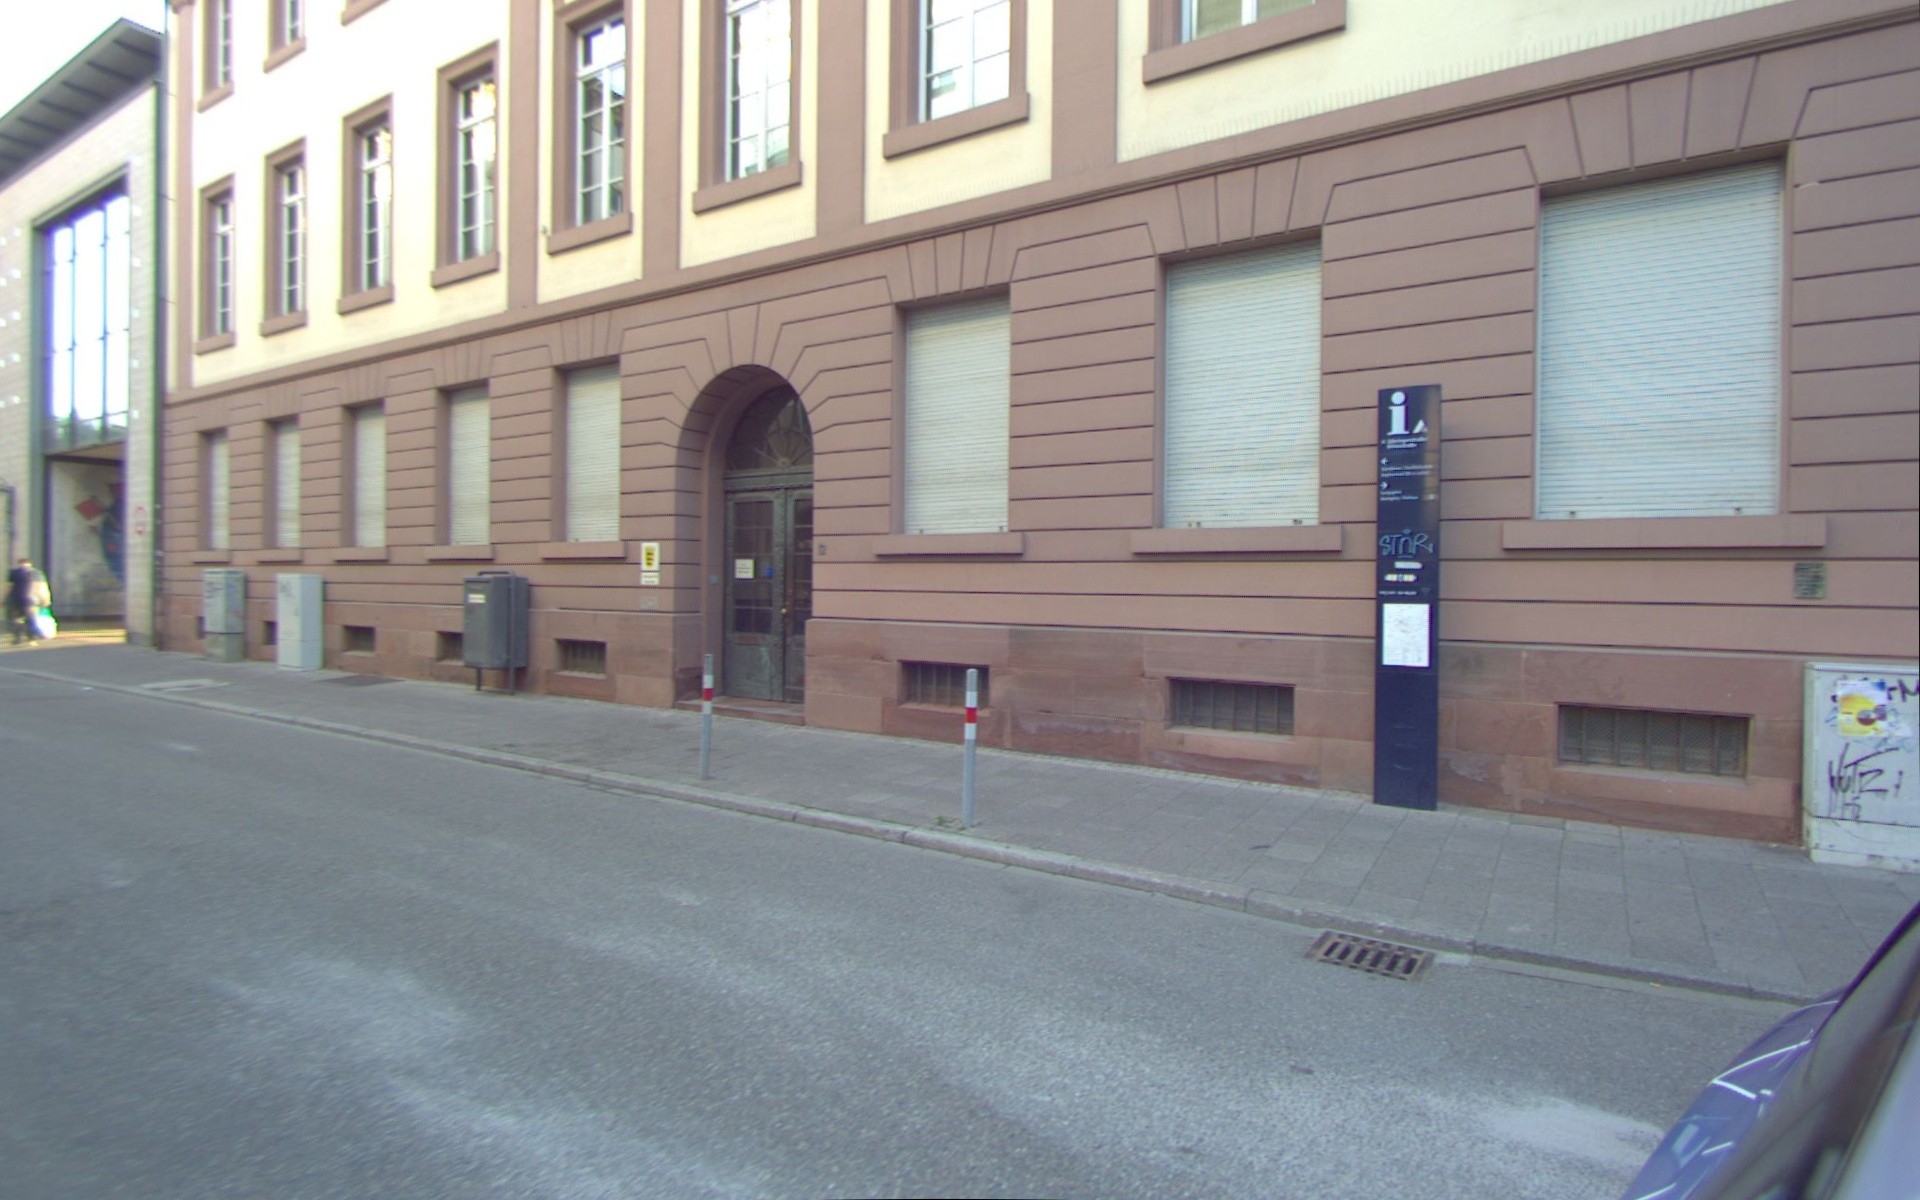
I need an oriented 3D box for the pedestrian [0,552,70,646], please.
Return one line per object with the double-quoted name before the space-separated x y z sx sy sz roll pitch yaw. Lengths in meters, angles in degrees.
"pedestrian" -19.053 -0.045 20.673 0.875 1.824 0.993 0 4 33
